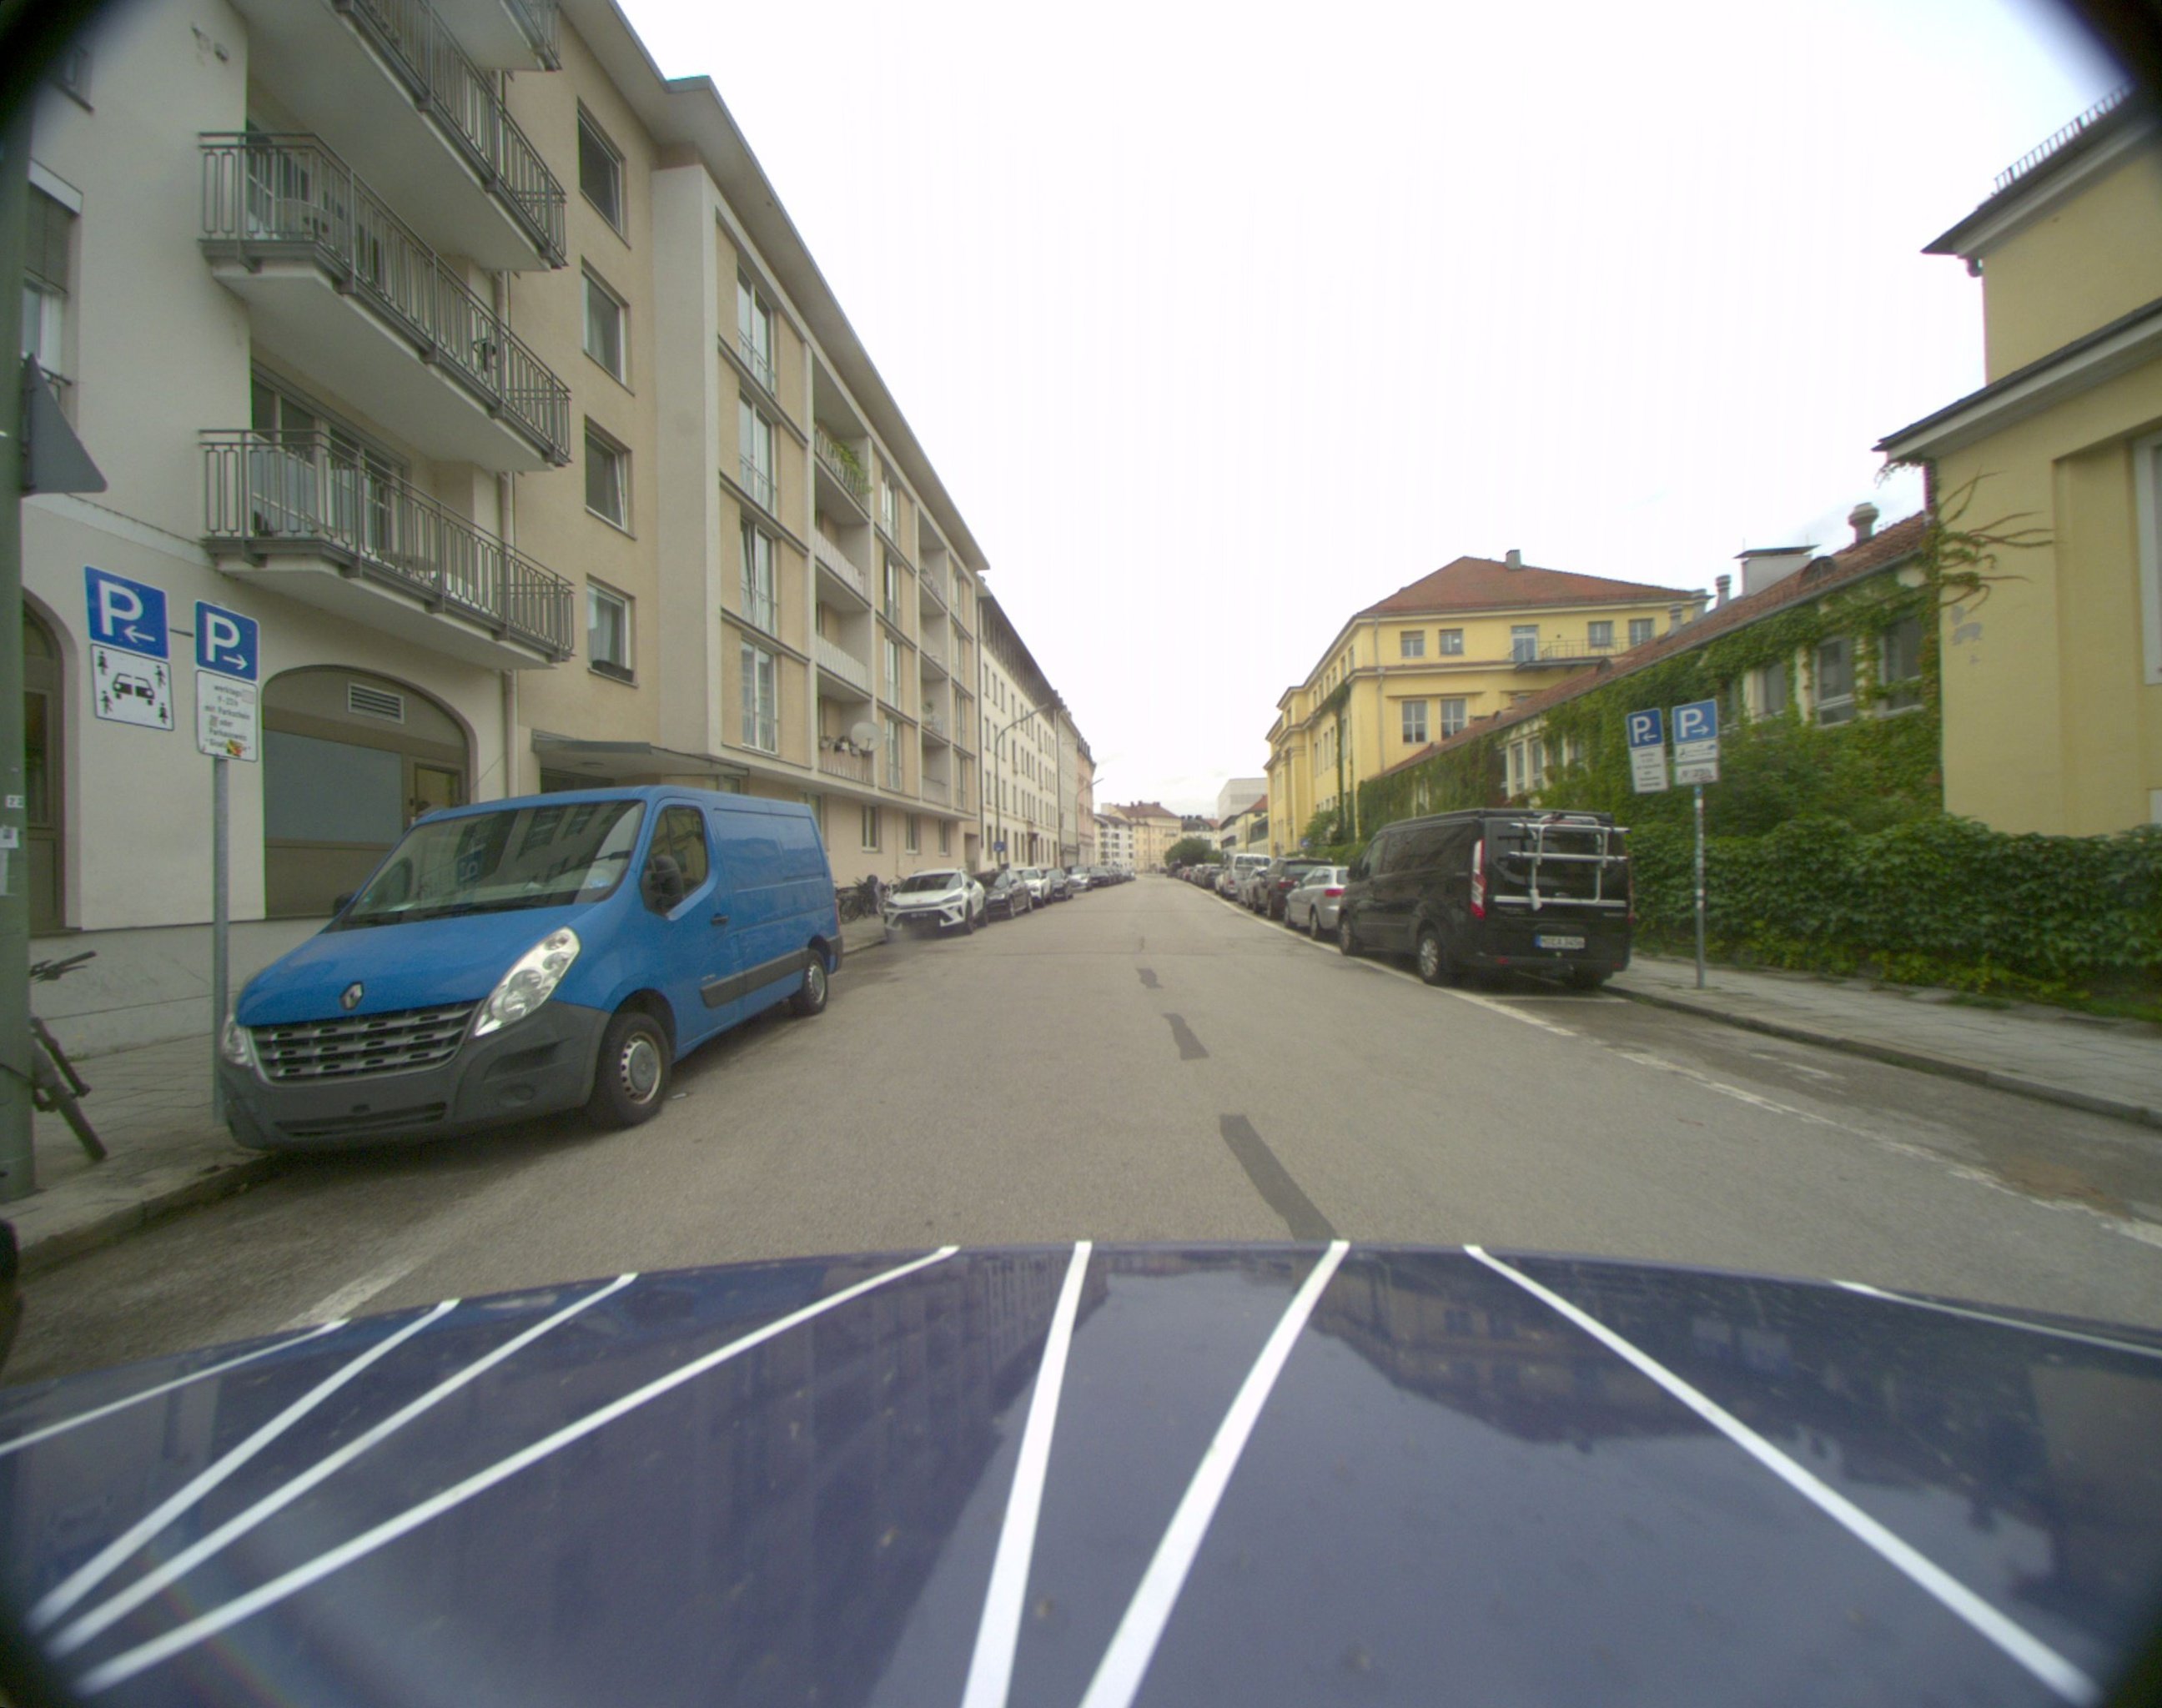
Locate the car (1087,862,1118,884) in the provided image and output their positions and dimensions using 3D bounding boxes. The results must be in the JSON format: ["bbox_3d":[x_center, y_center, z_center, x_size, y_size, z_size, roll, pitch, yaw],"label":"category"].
[{"bbox_3d":[1.565,1.323,53.710,1.877,1.439,4.702,-2,-1,5],"label":"car"}]

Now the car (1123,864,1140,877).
[{"bbox_3d":[6.712,2.213,100.247,2.000,1.563,4.494,-3,-1,6],"label":"car"}]

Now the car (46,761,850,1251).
[{"bbox_3d":[-3.820,0.695,6.208,2.114,2.201,5.027,-6,1,0],"label":"car"}]

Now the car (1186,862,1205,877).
[{"bbox_3d":[11.272,1.539,75.035,1.737,1.430,3.782,2,-1,6],"label":"car"}]

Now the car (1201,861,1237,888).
[{"bbox_3d":[8.354,1.212,46.359,1.721,1.472,4.222,3,0,5],"label":"car"}]

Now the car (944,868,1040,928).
[{"bbox_3d":[-2.565,1.251,23.130,1.776,1.420,4.696,-6,-1,6],"label":"car"}]

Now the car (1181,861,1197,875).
[{"bbox_3d":[13.309,1.691,93.457,1.773,1.545,4.212,2,0,6],"label":"car"}]

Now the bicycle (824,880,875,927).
[{"bbox_3d":[-6.314,1.331,20.768,0.397,1.195,1.569,3,1,21],"label":"bicycle"}]

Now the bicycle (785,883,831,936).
[{"bbox_3d":[-6.691,1.351,18.679,0.413,1.195,1.284,3,1,12],"label":"bicycle"}]

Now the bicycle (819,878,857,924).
[{"bbox_3d":[-6.764,1.287,21.206,0.417,1.195,1.286,3,1,10],"label":"bicycle"}]

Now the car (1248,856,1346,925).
[{"bbox_3d":[5.712,0.914,20.611,1.706,1.597,4.493,2,0,5],"label":"car"}]

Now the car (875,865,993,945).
[{"bbox_3d":[-3.283,1.098,17.838,1.780,1.513,4.305,-5,-1,0],"label":"car"}]

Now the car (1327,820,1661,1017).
[{"bbox_3d":[5.003,0.692,10.140,1.930,1.967,4.623,2,-1,1],"label":"car"}]

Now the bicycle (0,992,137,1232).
[{"bbox_3d":[-5.484,1.304,3.389,0.567,1.063,1.786,-1,-1,-11],"label":"bicycle"}]

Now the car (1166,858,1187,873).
[{"bbox_3d":[16.309,1.978,130.258,2.847,2.536,6.894,0,-1,0],"label":"car"}]

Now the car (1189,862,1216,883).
[{"bbox_3d":[10.242,1.561,64.444,1.785,1.631,4.302,3,0,4],"label":"car"}]

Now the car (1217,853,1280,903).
[{"bbox_3d":[6.765,0.935,31.197,1.897,1.788,4.884,3,0,6],"label":"car"}]

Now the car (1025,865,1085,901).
[{"bbox_3d":[-1.043,1.191,32.643,1.831,1.373,4.494,-3,-1,7],"label":"car"}]

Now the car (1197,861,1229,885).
[{"bbox_3d":[8.882,1.243,51.526,1.773,1.494,4.276,2,-1,6],"label":"car"}]

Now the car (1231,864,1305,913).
[{"bbox_3d":[6.267,1.110,25.927,1.807,1.369,4.493,4,0,6],"label":"car"}]

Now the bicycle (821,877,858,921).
[{"bbox_3d":[-7.035,1.304,22.188,0.393,1.195,1.343,3,1,11],"label":"bicycle"}]

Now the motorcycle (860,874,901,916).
[{"bbox_3d":[-6.499,1.317,24.727,0.637,1.263,2.042,0,0,5],"label":"motorcycle"}]

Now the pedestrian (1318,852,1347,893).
[{"bbox_3d":[9.374,0.680,28.335,0.844,1.485,0.873,-1,0,7],"label":"pedestrian"}]

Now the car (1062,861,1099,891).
[{"bbox_3d":[0.017,1.242,43.680,1.618,1.507,3.382,-5,-1,7],"label":"car"}]

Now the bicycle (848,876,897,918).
[{"bbox_3d":[-6.383,1.313,23.285,1.342,1.195,0.393,2,1,-8],"label":"bicycle"}]

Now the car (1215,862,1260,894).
[{"bbox_3d":[7.396,1.117,36.119,1.670,1.401,3.561,2,-1,5],"label":"car"}]

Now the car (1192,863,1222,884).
[{"bbox_3d":[9.488,1.453,57.496,1.777,1.400,4.603,3,-1,4],"label":"car"}]

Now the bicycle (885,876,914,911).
[{"bbox_3d":[-6.362,1.374,26.669,0.514,1.150,1.601,0,0,5],"label":"bicycle"}]

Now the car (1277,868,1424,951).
[{"bbox_3d":[5.217,1.005,15.269,1.710,1.357,4.003,3,-1,4],"label":"car"}]

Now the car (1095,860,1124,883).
[{"bbox_3d":[2.247,1.336,58.880,1.830,1.572,4.494,-2,-1,7],"label":"car"}]

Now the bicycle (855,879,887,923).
[{"bbox_3d":[-6.172,1.356,22.378,0.448,1.195,1.371,2,1,3],"label":"bicycle"}]

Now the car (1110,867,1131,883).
[{"bbox_3d":[4.025,2.105,77.591,1.768,1.531,4.003,-4,-1,7],"label":"car"}]

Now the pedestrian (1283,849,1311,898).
[{"bbox_3d":[7.837,0.700,27.587,0.844,1.744,0.873,-1,0,7],"label":"pedestrian"}]

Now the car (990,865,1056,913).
[{"bbox_3d":[-2.038,1.215,28.033,1.705,1.460,4.121,-5,-1,4],"label":"car"}]
